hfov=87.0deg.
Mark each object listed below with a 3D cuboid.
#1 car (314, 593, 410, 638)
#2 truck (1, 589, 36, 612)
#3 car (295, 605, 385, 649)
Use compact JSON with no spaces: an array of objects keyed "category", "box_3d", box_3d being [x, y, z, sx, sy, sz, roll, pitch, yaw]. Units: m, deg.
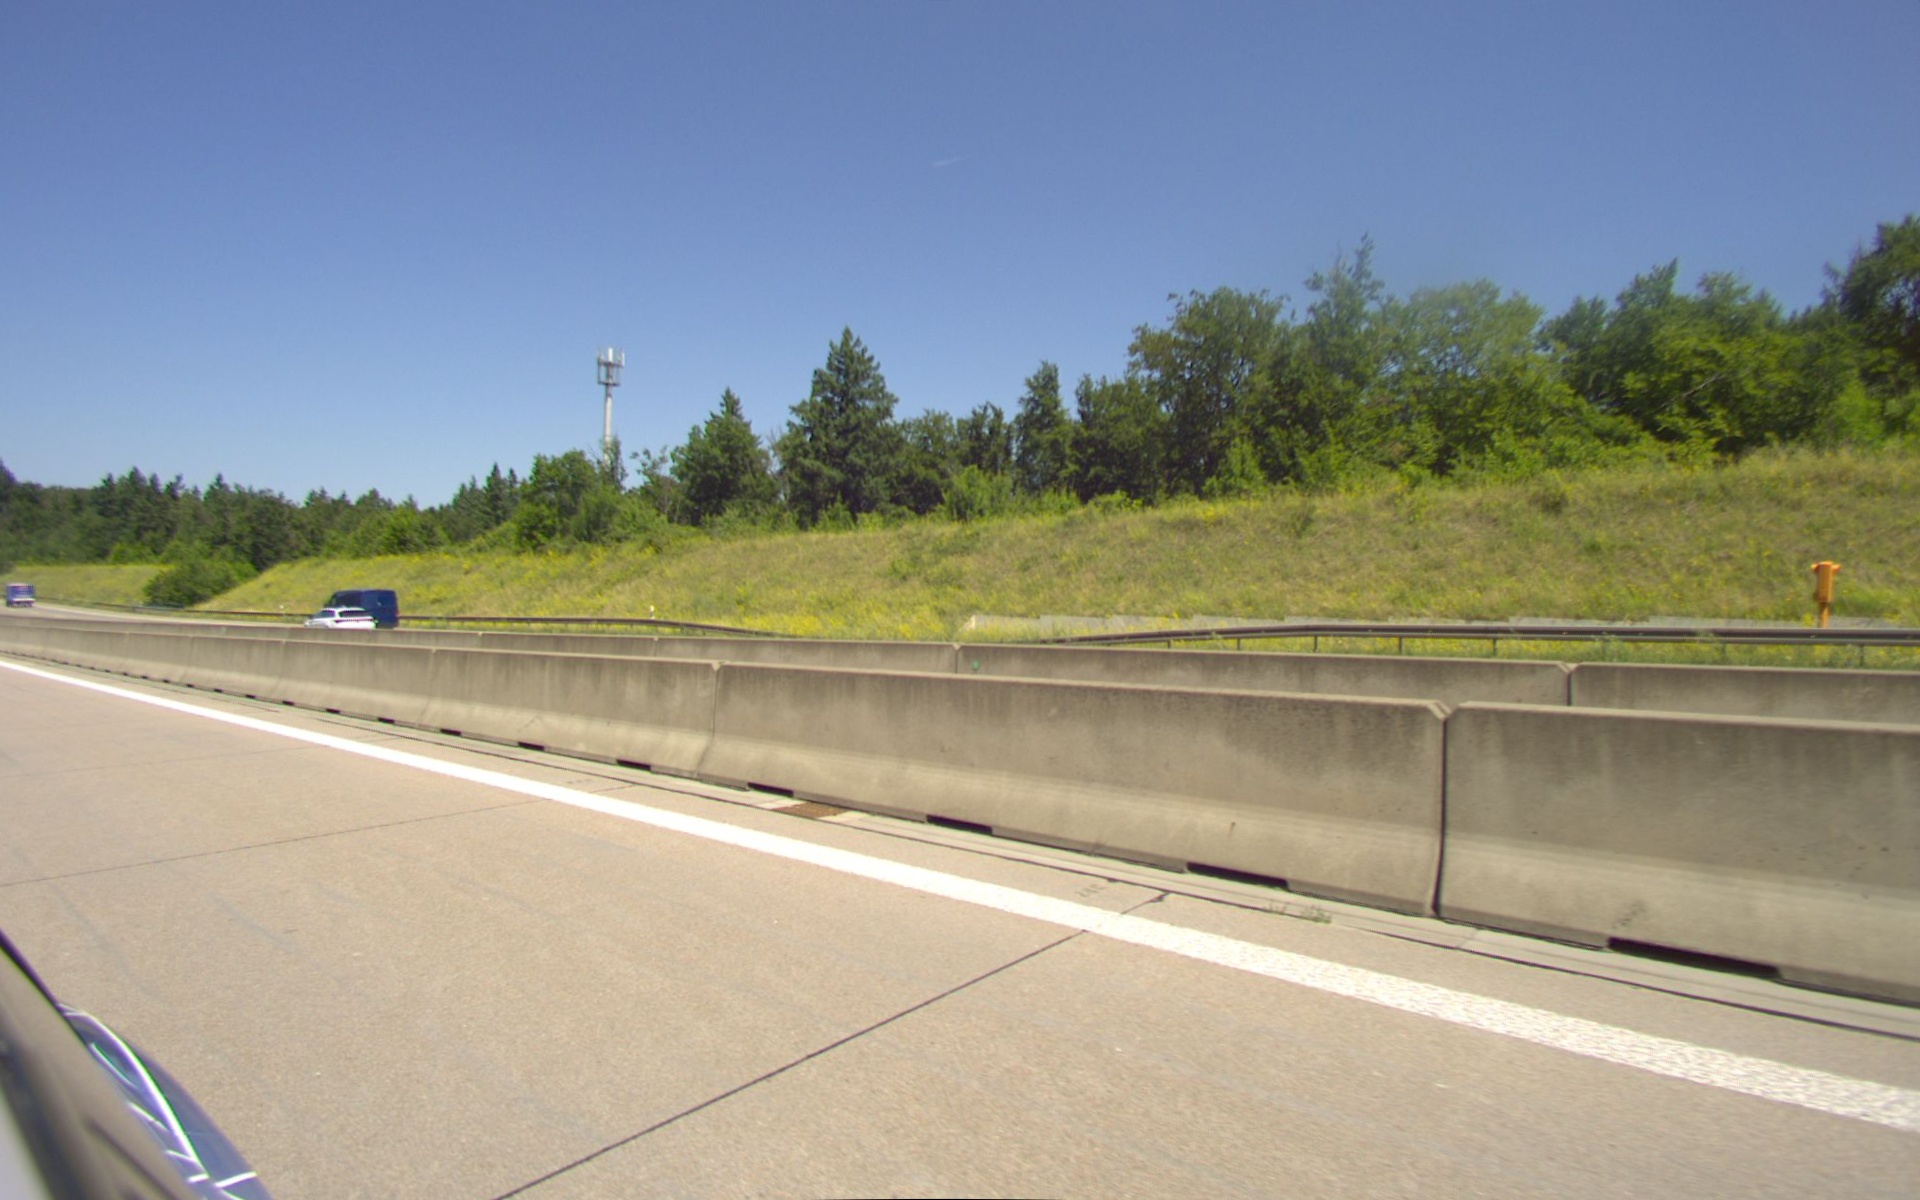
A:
[{"category":"car","box_3d":[-31.871,0.815,53.851,6.455,2.227,2.455,-1,0,41]},{"category":"truck","box_3d":[-126.126,0.094,135.602,7.830,3.011,2.536,0,1,41]},{"category":"car","box_3d":[-27.180,1.149,44.317,4.851,1.821,1.987,-1,0,41]}]
